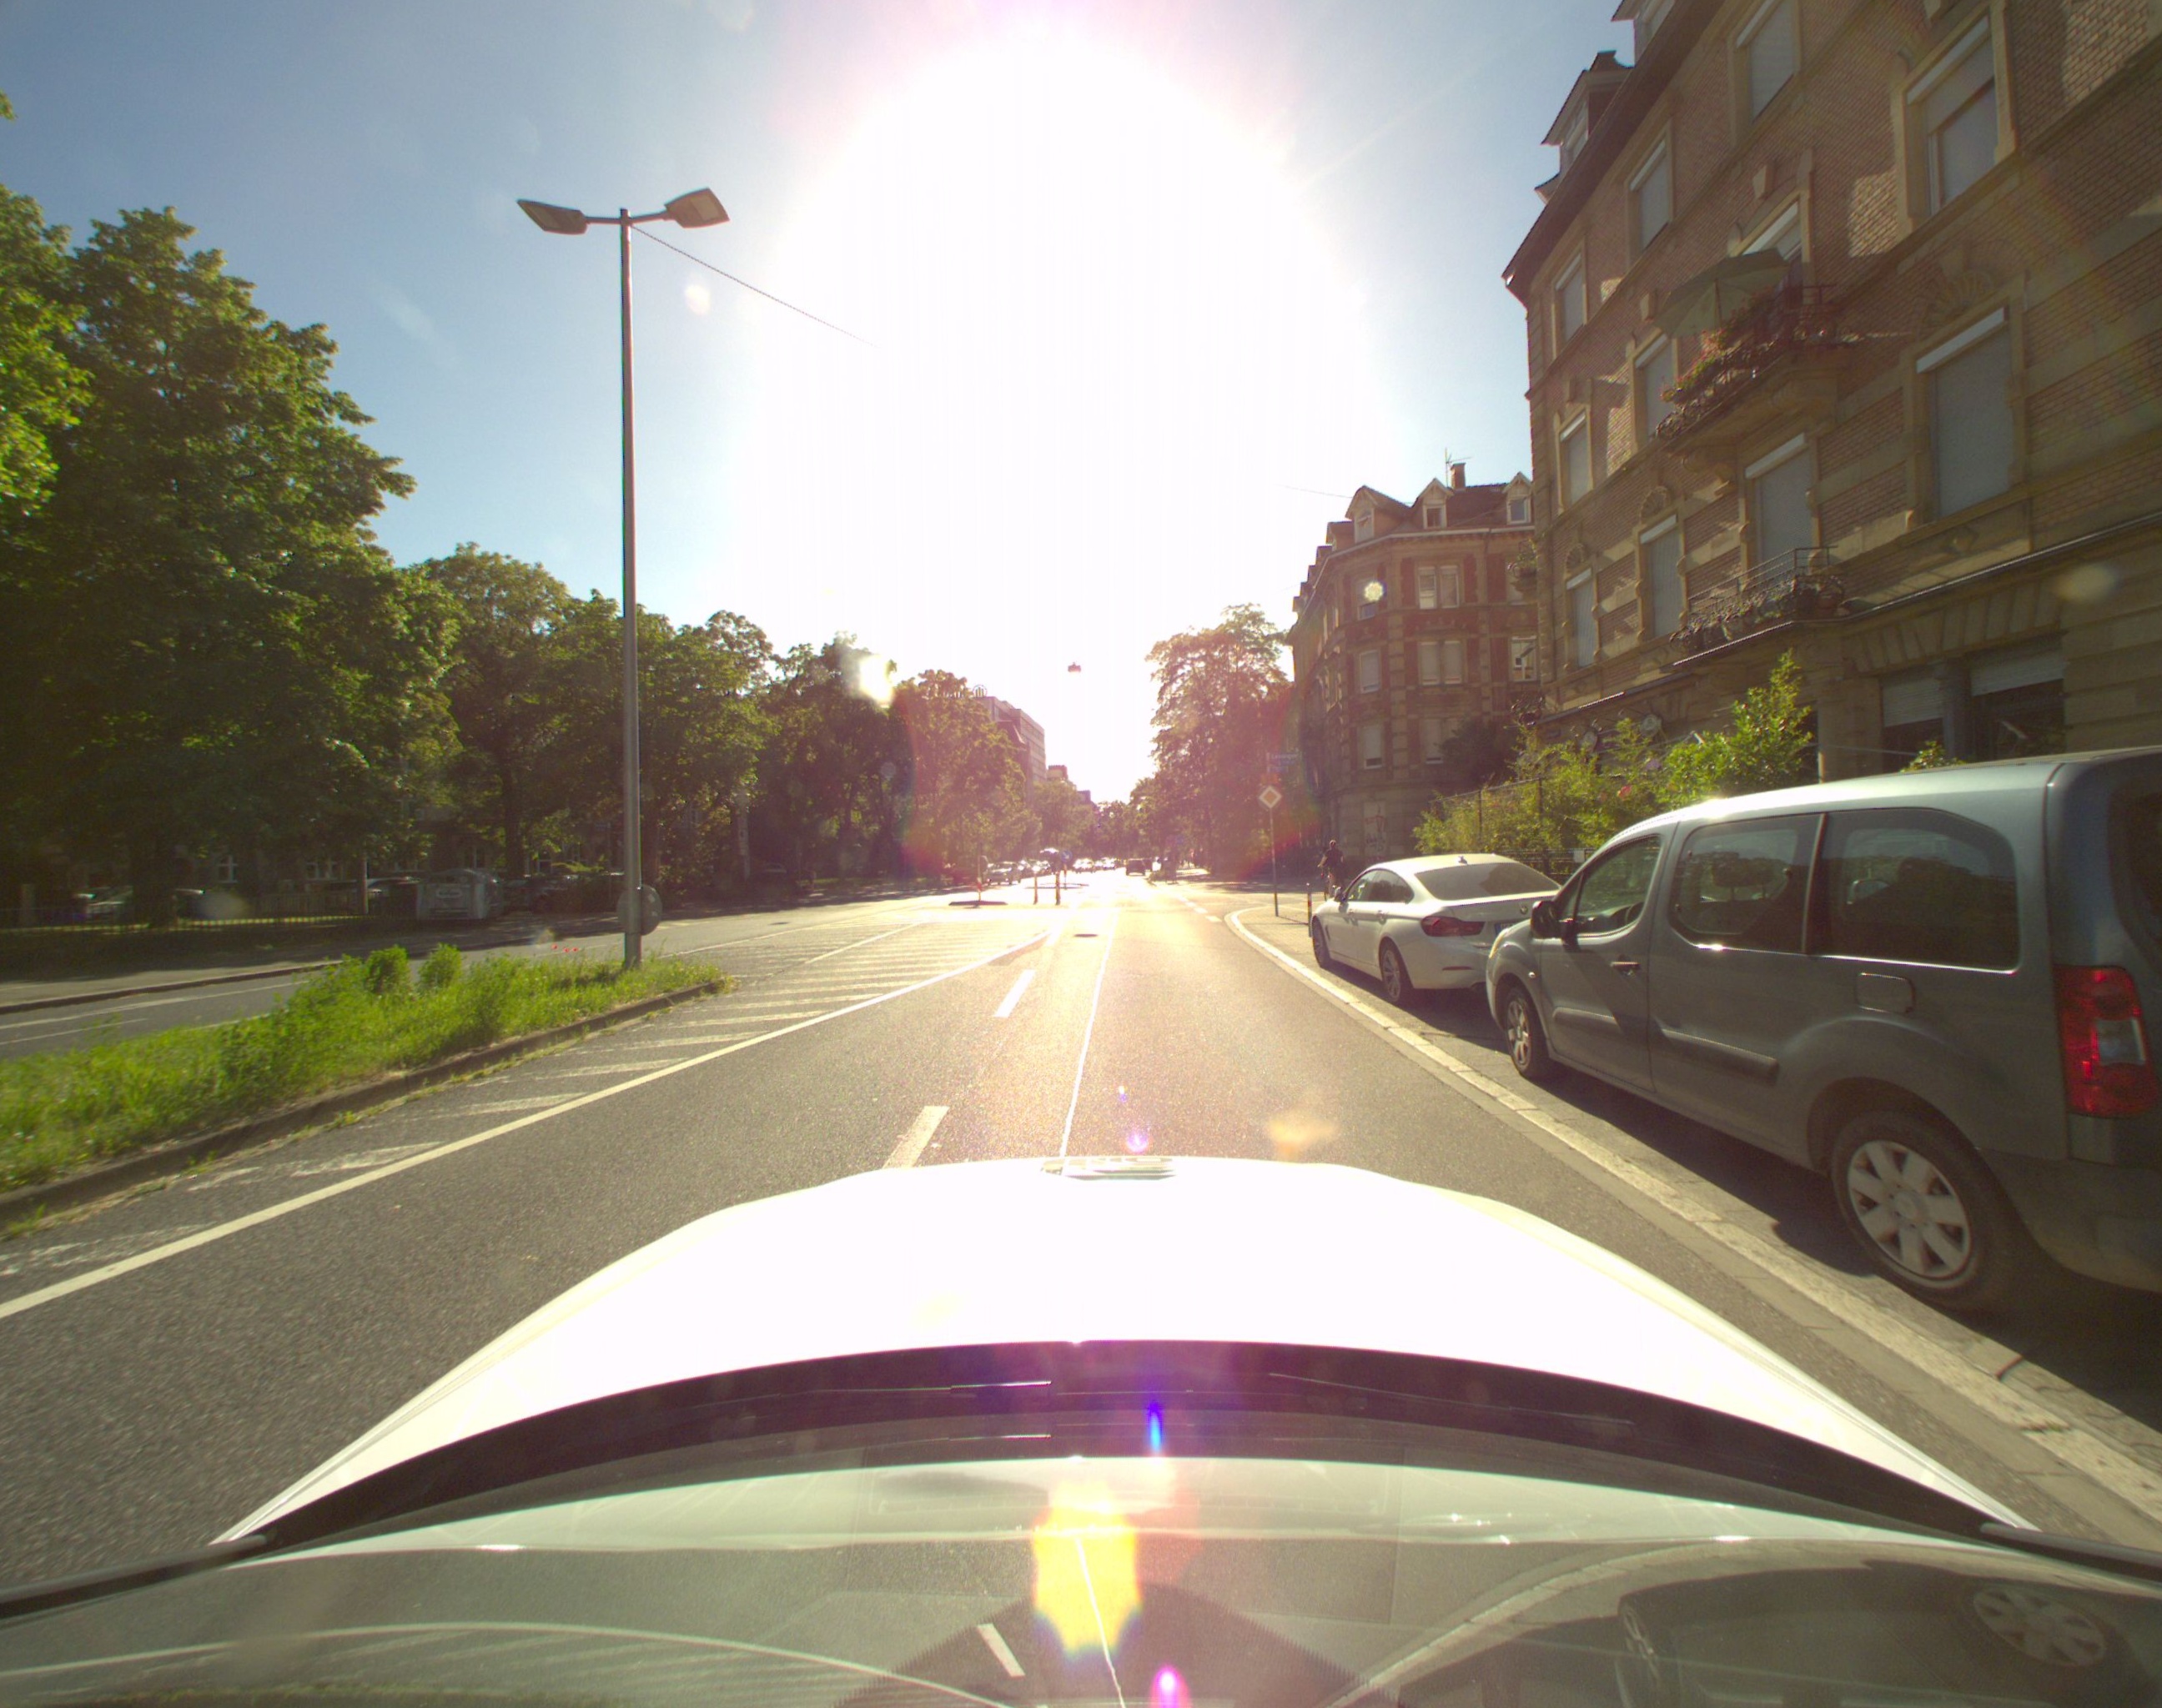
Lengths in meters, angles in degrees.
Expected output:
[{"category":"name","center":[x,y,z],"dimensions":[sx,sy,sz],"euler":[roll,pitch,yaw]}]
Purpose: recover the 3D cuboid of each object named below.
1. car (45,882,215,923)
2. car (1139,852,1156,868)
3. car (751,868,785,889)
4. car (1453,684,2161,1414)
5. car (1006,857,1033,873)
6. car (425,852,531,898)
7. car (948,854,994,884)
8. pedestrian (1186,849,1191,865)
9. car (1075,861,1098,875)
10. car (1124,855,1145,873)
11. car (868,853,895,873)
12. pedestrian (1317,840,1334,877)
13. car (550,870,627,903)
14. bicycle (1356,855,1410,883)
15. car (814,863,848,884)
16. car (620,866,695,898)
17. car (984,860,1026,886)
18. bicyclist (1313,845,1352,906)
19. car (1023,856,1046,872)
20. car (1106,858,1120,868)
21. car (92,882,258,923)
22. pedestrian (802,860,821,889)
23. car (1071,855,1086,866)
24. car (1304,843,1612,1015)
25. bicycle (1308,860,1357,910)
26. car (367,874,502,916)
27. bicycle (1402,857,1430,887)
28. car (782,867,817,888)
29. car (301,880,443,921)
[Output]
[{"category":"car","center":[-37.275,1.905,32.097],"dimensions":[1.838,1.491,4.001],"euler":[-1,-3,2]},{"category":"car","center":[7.848,0.693,95.508],"dimensions":[1.810,1.740,4.007],"euler":[-1,0,6]},{"category":"car","center":[-25.706,1.984,66.813],"dimensions":[1.988,1.662,3.961],"euler":[-2,0,-31]},{"category":"car","center":[3.708,0.454,4.192],"dimensions":[1.811,1.844,4.369],"euler":[-2,0,4]},{"category":"car","center":[-5.589,0.985,74.219],"dimensions":[1.513,1.432,3.564],"euler":[-1,0,11]},{"category":"car","center":[-32.910,1.208,44.667],"dimensions":[1.838,2.324,4.987],"euler":[0,-4,3]},{"category":"car","center":[-7.745,1.024,57.791],"dimensions":[2.189,1.929,4.868],"euler":[-2,0,4]},{"category":"pedestrian","center":[14.191,0.385,107.722],"dimensions":[0.612,2.013,0.681],"euler":[-1,0,2]},{"category":"car","center":[0.606,1.482,87.713],"dimensions":[1.773,1.460,4.426],"euler":[-1,-1,9]},{"category":"car","center":[4.991,0.926,76.126],"dimensions":[1.887,1.519,4.003],"euler":[1,1,3]},{"category":"car","center":[-17.573,0.803,71.672],"dimensions":[1.981,1.662,3.975],"euler":[-1,0,-18]},{"category":"pedestrian","center":[11.972,0.227,39.915],"dimensions":[0.652,1.816,0.753],"euler":[-1,-3,7]},{"category":"car","center":[-28.033,1.814,46.524],"dimensions":[1.838,1.654,4.003],"euler":[-1,1,2]},{"category":"bicycle","center":[12.278,0.626,33.173],"dimensions":[0.699,1.095,1.947],"euler":[-1,-1,-42]},{"category":"car","center":[-21.110,1.640,68.579],"dimensions":[1.986,1.662,3.964],"euler":[-2,0,-28]},{"category":"car","center":[-23.138,1.554,44.636],"dimensions":[1.838,1.654,4.001],"euler":[-1,-3,2]},{"category":"car","center":[-4.988,1.219,53.690],"dimensions":[1.748,1.519,3.869],"euler":[-3,0,9]},{"category":"bicyclist","center":[6.620,0.548,21.509],"dimensions":[0.738,1.580,1.101],"euler":[-1,1,3]},{"category":"car","center":[-4.516,0.969,78.952],"dimensions":[1.514,1.432,3.346],"euler":[-1,0,9]},{"category":"car","center":[4.749,1.309,120.987],"dimensions":[1.629,1.519,4.041],"euler":[-1,0,9]},{"category":"car","center":[-35.271,1.876,31.878],"dimensions":[1.838,1.491,4.001],"euler":[-1,-3,2]},{"category":"pedestrian","center":[-15.138,1.155,45.711],"dimensions":[0.662,1.626,0.720],"euler":[-2,0,35]},{"category":"car","center":[-0.281,0.880,112.127],"dimensions":[1.794,1.504,3.811],"euler":[-1,0,3]},{"category":"car","center":[3.866,0.656,9.228],"dimensions":[1.702,1.425,4.209],"euler":[-3,0,3]},{"category":"bicycle","center":[6.623,0.798,21.565],"dimensions":[0.738,1.219,1.962],"euler":[-4,-1,3]},{"category":"car","center":[-24.703,1.565,31.321],"dimensions":[1.838,1.491,4.001],"euler":[-1,-3,2]},{"category":"bicycle","center":[13.632,0.710,33.200],"dimensions":[0.575,1.094,1.976],"euler":[0,3,8]},{"category":"car","center":[-23.240,1.915,67.122],"dimensions":[1.987,1.662,3.962],"euler":[-2,0,-29]},{"category":"car","center":[-27.358,1.793,31.638],"dimensions":[1.838,1.491,4.001],"euler":[-1,-3,2]}]
